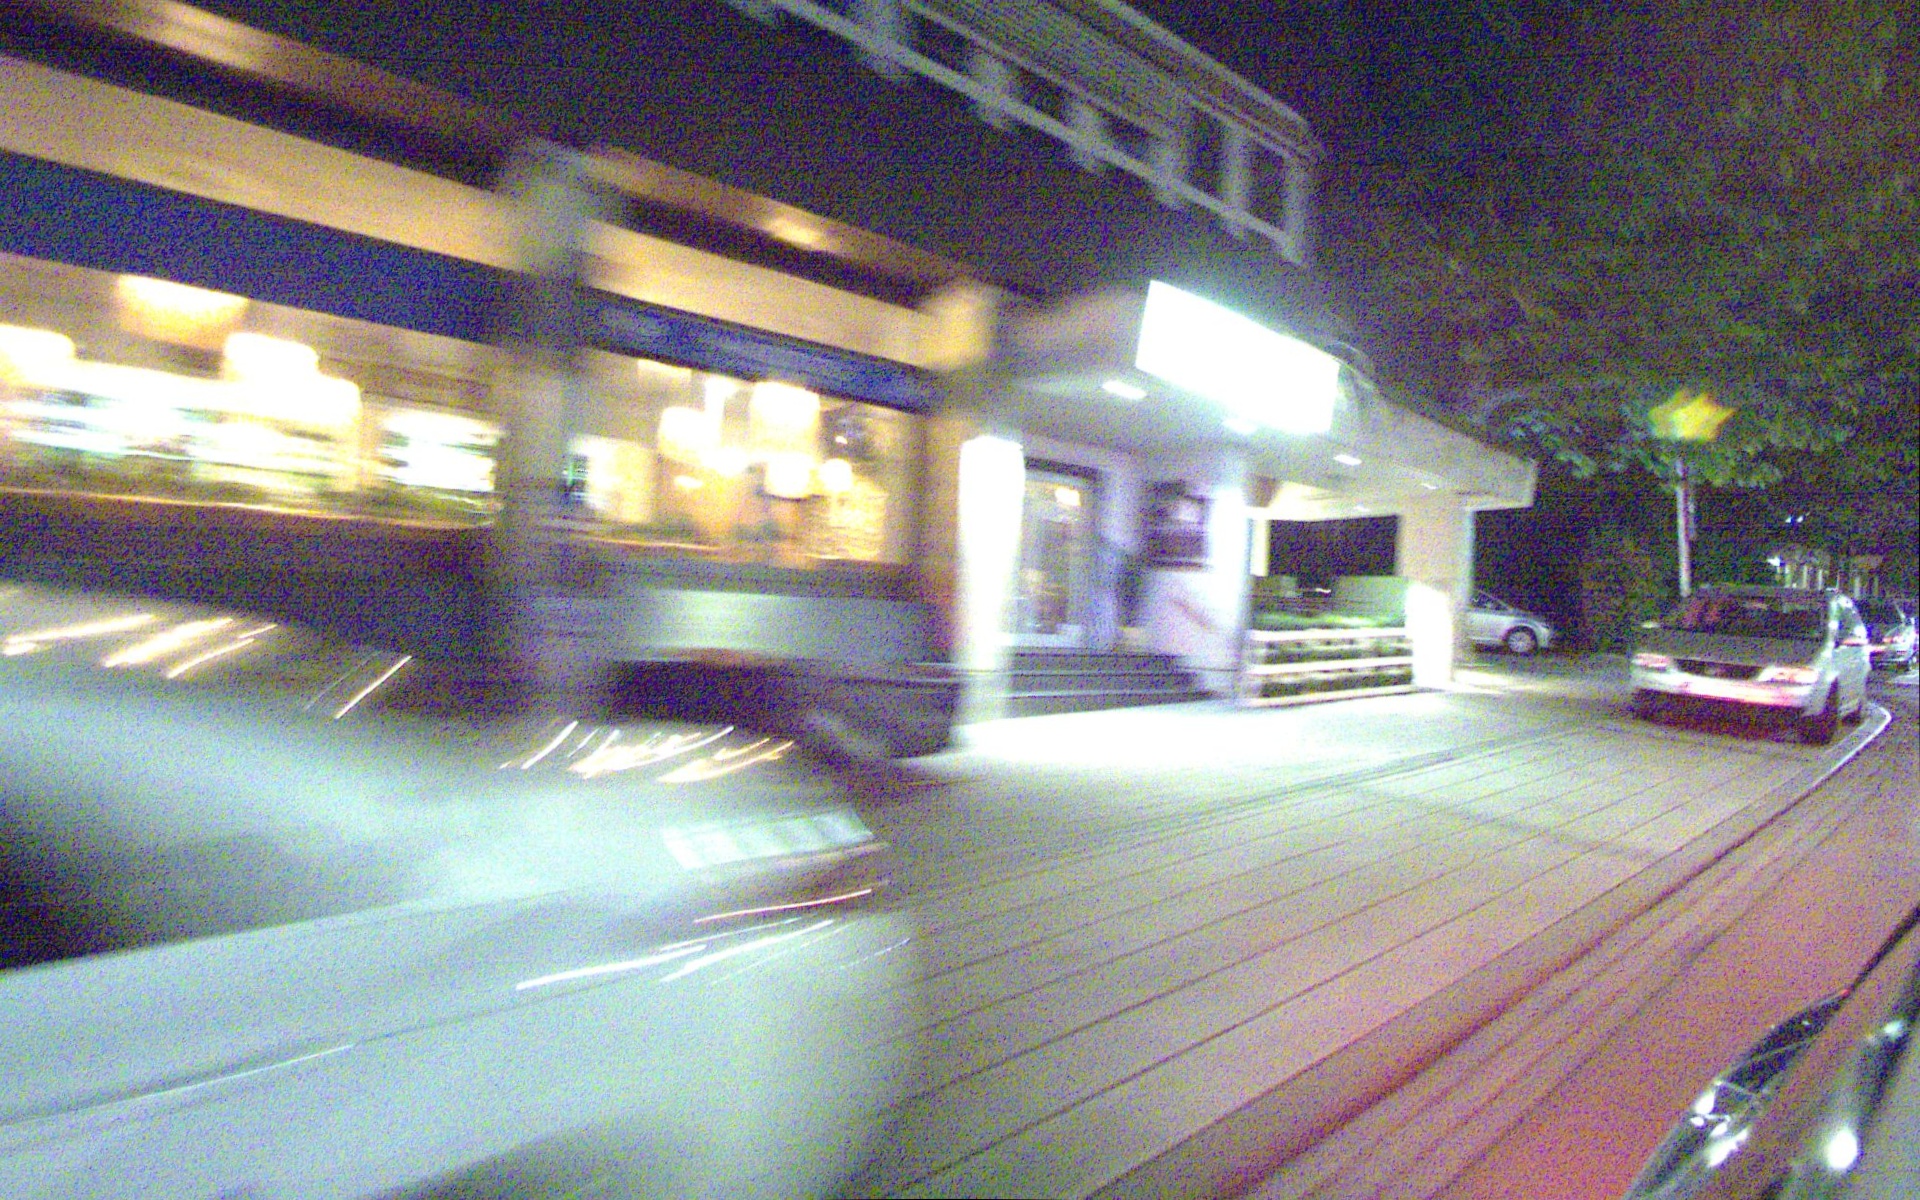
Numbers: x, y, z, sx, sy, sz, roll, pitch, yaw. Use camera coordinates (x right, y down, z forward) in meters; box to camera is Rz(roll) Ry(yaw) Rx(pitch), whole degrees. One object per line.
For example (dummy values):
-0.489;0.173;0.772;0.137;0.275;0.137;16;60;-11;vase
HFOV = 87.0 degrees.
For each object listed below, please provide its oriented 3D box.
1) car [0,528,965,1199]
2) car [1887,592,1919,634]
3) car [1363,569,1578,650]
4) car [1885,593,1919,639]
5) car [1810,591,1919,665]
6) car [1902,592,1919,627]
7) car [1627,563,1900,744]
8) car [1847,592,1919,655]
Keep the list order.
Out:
-2.298;0.632;0.957;4.516;1.459;1.861;-1;4;-42;car
35.256;0.445;37.129;3.714;1.485;1.639;0;0;-44;car
11.354;0.168;22.792;4.013;1.605;1.699;2;2;17;car
31.864;0.510;33.433;1.762;1.433;4.369;1;1;44;car
20.048;0.543;22.225;1.781;1.455;4.220;1;1;45;car
42.523;0.427;44.391;1.677;1.465;3.937;2;2;44;car
9.452;0.478;11.773;4.306;1.661;1.790;0;4;-43;car
23.824;0.536;25.479;4.531;1.465;1.679;0;1;-41;car
